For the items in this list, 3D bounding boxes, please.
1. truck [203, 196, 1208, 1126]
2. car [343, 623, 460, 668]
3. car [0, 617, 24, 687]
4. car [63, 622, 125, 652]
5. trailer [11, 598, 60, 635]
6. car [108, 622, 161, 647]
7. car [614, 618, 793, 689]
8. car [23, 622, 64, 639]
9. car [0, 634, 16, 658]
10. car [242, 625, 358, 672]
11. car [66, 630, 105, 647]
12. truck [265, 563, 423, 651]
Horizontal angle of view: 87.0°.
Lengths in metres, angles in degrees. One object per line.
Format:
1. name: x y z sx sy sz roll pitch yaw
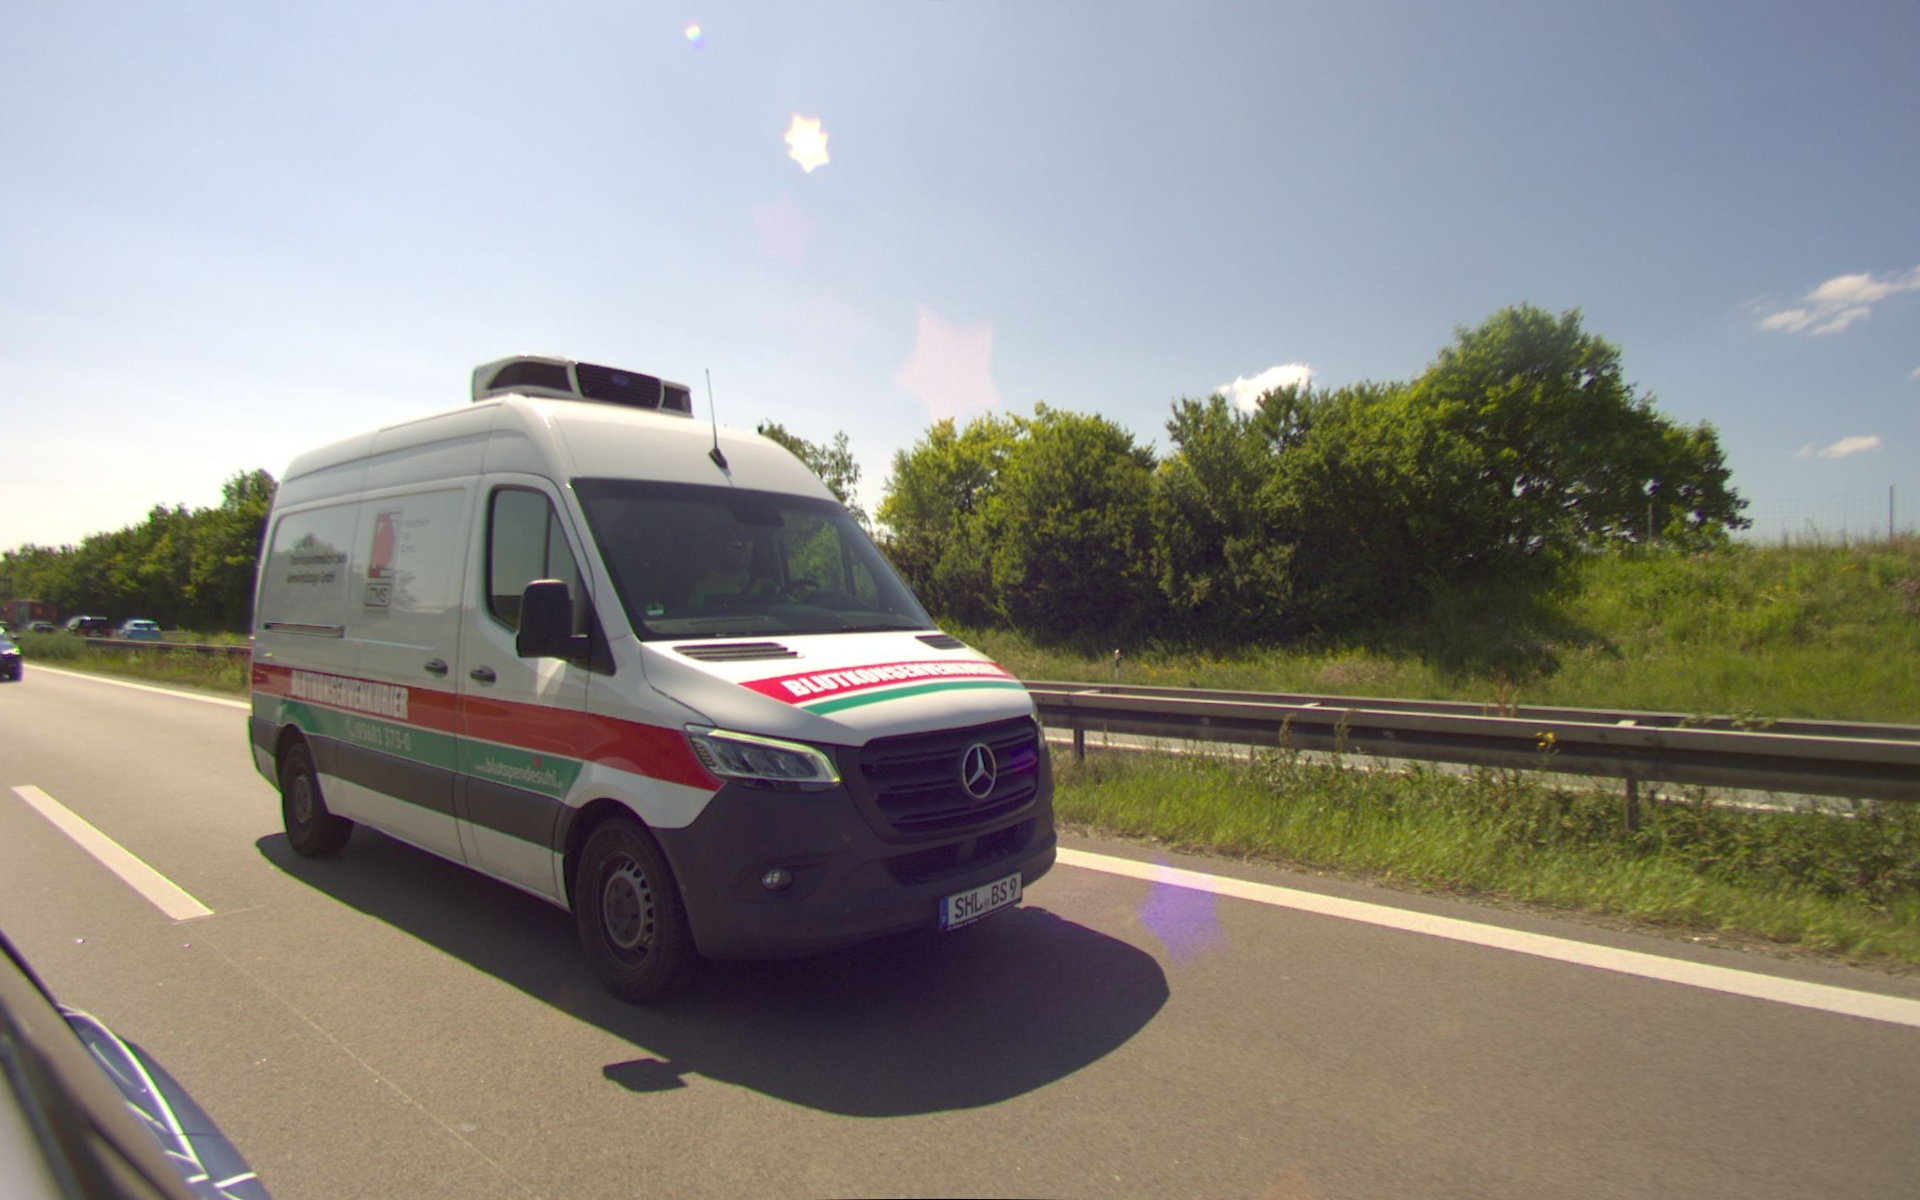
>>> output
1. truck: -2.142 0.210 5.717 6.687 2.561 1.973 -1 0 40
2. car: -20.250 1.609 36.587 5.204 1.521 1.973 -1 -2 40
3. car: -24.437 1.256 24.764 4.239 1.638 1.880 -1 -1 42
4. car: -49.021 2.062 57.266 4.716 1.612 1.840 -1 -2 40
5. trailer: -98.739 1.790 108.037 8.399 3.798 2.652 -1 -3 40
6. car: -52.743 2.183 64.654 4.346 1.521 1.777 -1 -2 40
7. car: -6.579 1.291 25.669 4.892 1.653 1.944 -1 -2 41
8. car: -79.318 2.649 87.544 4.759 1.350 1.876 -1 -5 40
9. car: -78.506 3.752 82.170 4.892 1.880 1.974 -1 -2 38
10. car: -21.860 1.550 33.439 5.015 1.450 1.855 -1 -2 41
11. car: -80.266 3.509 92.881 4.919 1.449 1.876 -1 -5 40
12. truck: -32.436 0.473 52.882 13.948 4.110 2.645 -1 -4 40
